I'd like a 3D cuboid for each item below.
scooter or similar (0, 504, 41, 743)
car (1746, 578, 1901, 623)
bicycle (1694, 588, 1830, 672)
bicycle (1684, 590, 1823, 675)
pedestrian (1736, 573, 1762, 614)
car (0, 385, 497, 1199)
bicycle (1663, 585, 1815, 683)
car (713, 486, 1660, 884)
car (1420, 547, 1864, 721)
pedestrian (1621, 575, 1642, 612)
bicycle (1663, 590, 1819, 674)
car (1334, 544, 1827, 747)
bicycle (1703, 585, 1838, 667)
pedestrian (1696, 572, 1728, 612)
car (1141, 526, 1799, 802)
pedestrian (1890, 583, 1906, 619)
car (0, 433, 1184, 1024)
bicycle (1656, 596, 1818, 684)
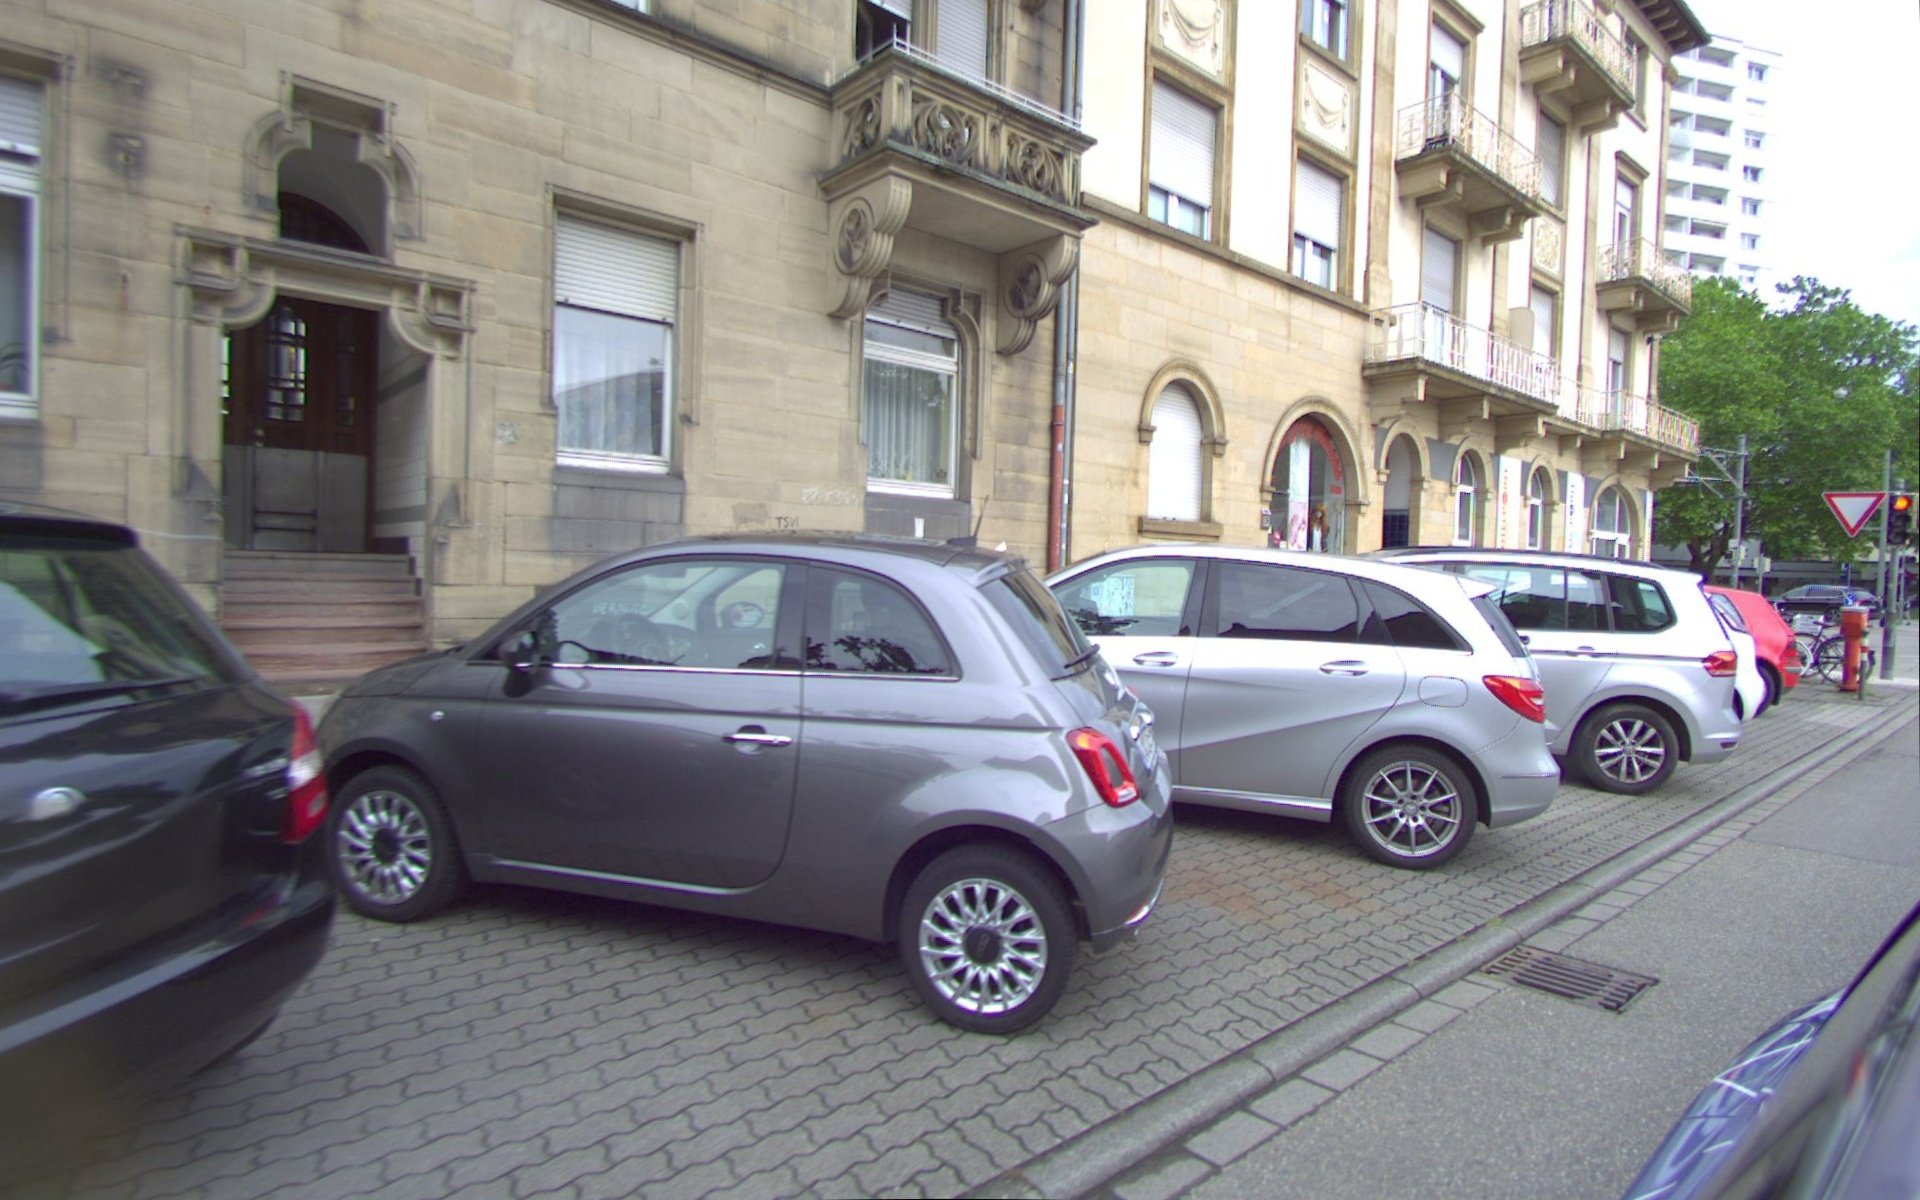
[{"bbox_3d":[-5.376,0.125,4.987,1.197,1.201,0.435,-2,8,-40],"label":"scooter or similar"},{"bbox_3d":[38.149,-0.039,44.917,1.672,1.805,5.161,-1,2,-15],"label":"car"},{"bbox_3d":[12.680,0.448,16.043,0.468,1.140,1.571,-1,5,-40],"label":"bicycle"},{"bbox_3d":[12.290,0.476,15.722,0.468,1.140,1.571,-1,5,-40],"label":"bicycle"},{"bbox_3d":[34.457,-0.301,44.191,0.642,1.772,0.629,-1,1,-13],"label":"pedestrian"},{"bbox_3d":[-3.669,0.334,2.459,4.396,1.571,1.846,2,2,12],"label":"car"},{"bbox_3d":[10.925,0.445,14.238,0.468,1.186,1.571,-1,5,-40],"label":"bicycle"},{"bbox_3d":[1.094,0.282,6.144,4.683,1.705,1.929,3,3,14],"label":"car"},{"bbox_3d":[7.718,0.310,11.805,3.766,1.579,1.795,4,4,4],"label":"car"},{"bbox_3d":[32.487,-0.304,48.963,0.609,1.772,0.549,-1,1,-15],"label":"pedestrian"},{"bbox_3d":[11.647,0.449,15.152,0.468,1.051,1.737,-1,6,-40],"label":"bicycle"},{"bbox_3d":[5.766,0.330,9.891,3.529,1.526,1.846,4,4,9],"label":"car"},{"bbox_3d":[13.066,0.393,16.349,0.468,1.140,1.571,-1,5,-40],"label":"bicycle"},{"bbox_3d":[33.174,-0.367,44.659,0.727,1.716,0.881,-1,1,-15],"label":"pedestrian"},{"bbox_3d":[3.675,0.334,8.113,4.166,1.702,1.907,3,3,16],"label":"car"},{"bbox_3d":[43.433,0.042,46.852,0.522,1.632,0.519,1,2,42],"label":"pedestrian"},{"bbox_3d":[-1.376,0.283,4.285,4.396,1.593,1.742,4,2,12],"label":"car"},{"bbox_3d":[11.222,0.549,14.670,0.468,1.051,1.737,-1,6,-40],"label":"bicycle"}]
